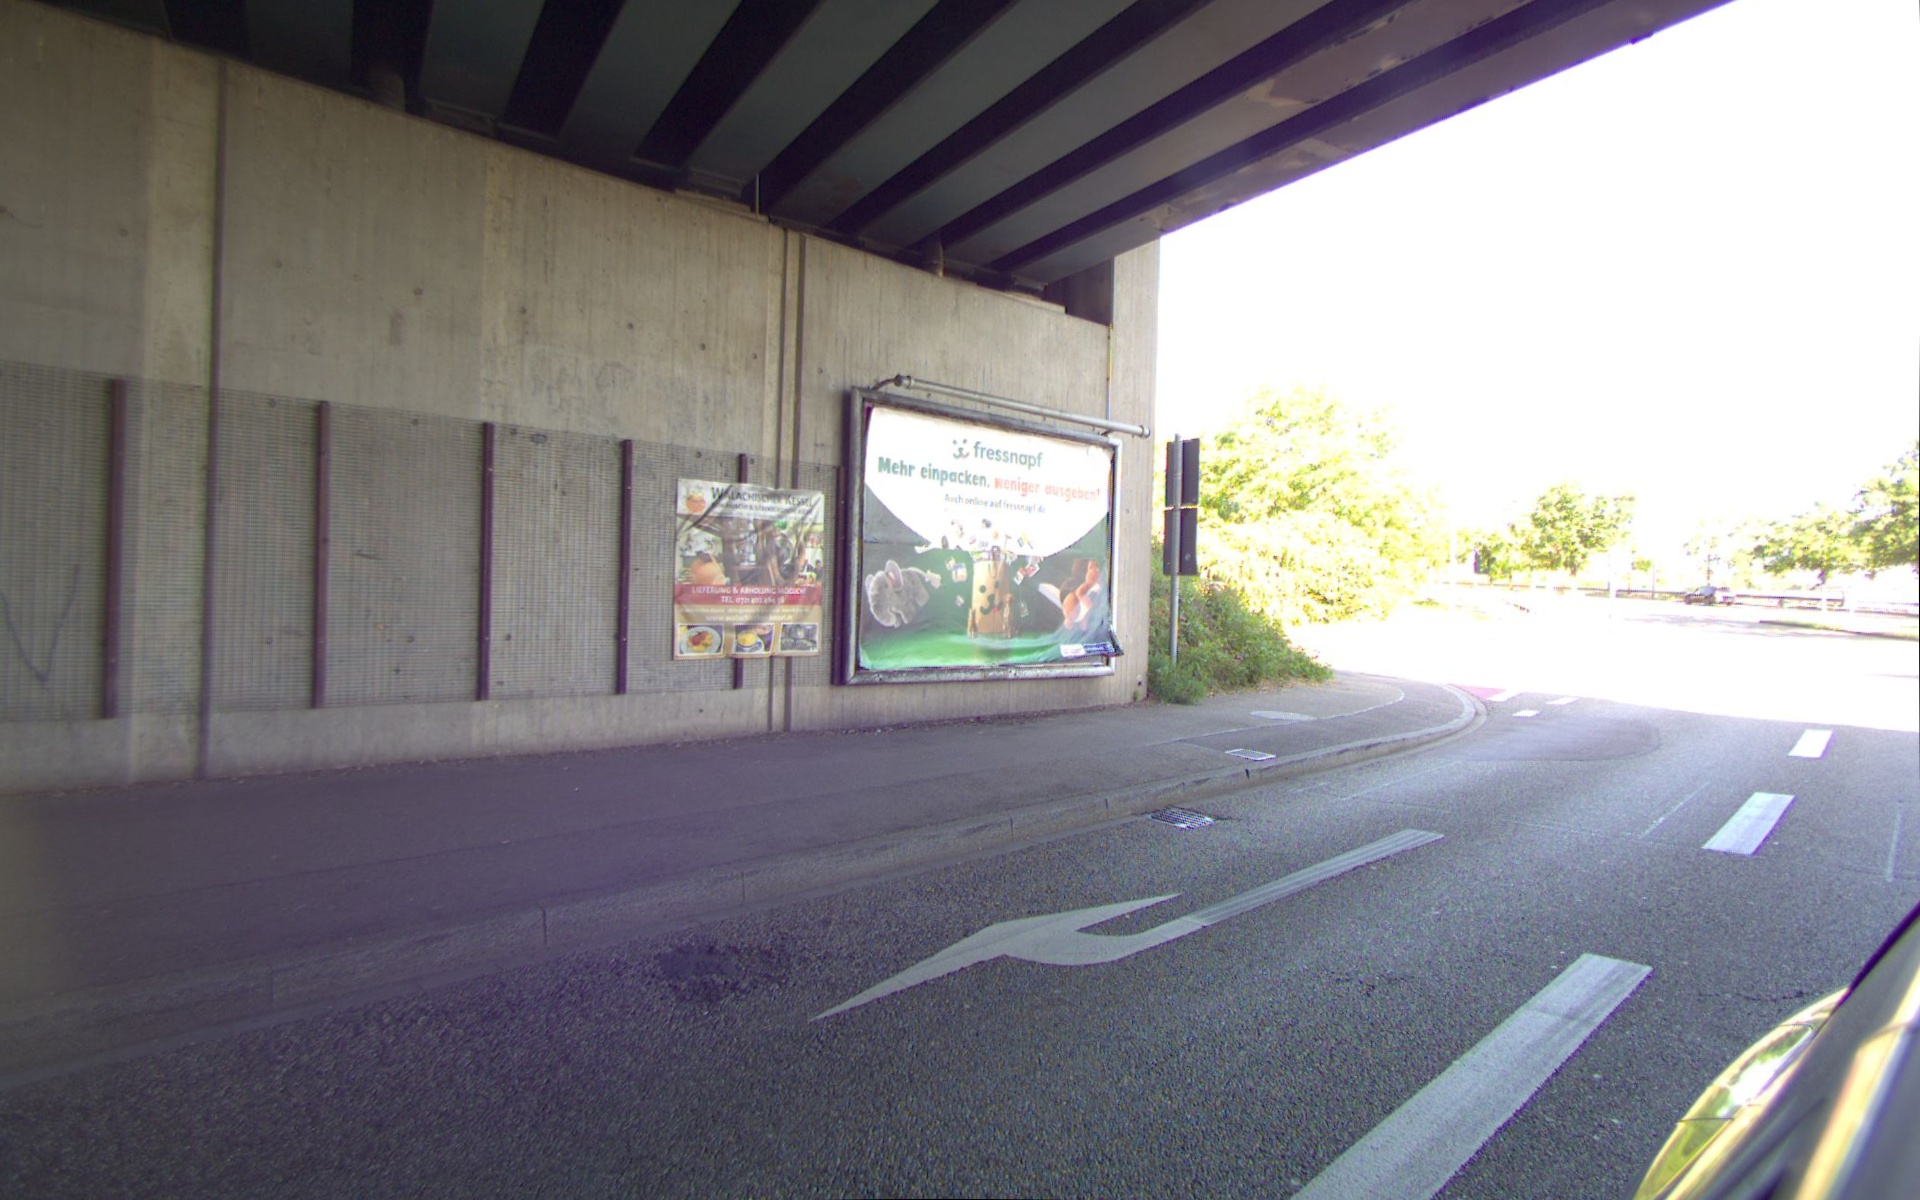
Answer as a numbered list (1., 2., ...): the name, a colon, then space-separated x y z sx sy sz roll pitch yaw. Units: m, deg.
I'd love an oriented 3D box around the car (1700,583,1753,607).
1. car: 62.261 -0.417 82.315 1.805 1.759 4.507 3 2 16
